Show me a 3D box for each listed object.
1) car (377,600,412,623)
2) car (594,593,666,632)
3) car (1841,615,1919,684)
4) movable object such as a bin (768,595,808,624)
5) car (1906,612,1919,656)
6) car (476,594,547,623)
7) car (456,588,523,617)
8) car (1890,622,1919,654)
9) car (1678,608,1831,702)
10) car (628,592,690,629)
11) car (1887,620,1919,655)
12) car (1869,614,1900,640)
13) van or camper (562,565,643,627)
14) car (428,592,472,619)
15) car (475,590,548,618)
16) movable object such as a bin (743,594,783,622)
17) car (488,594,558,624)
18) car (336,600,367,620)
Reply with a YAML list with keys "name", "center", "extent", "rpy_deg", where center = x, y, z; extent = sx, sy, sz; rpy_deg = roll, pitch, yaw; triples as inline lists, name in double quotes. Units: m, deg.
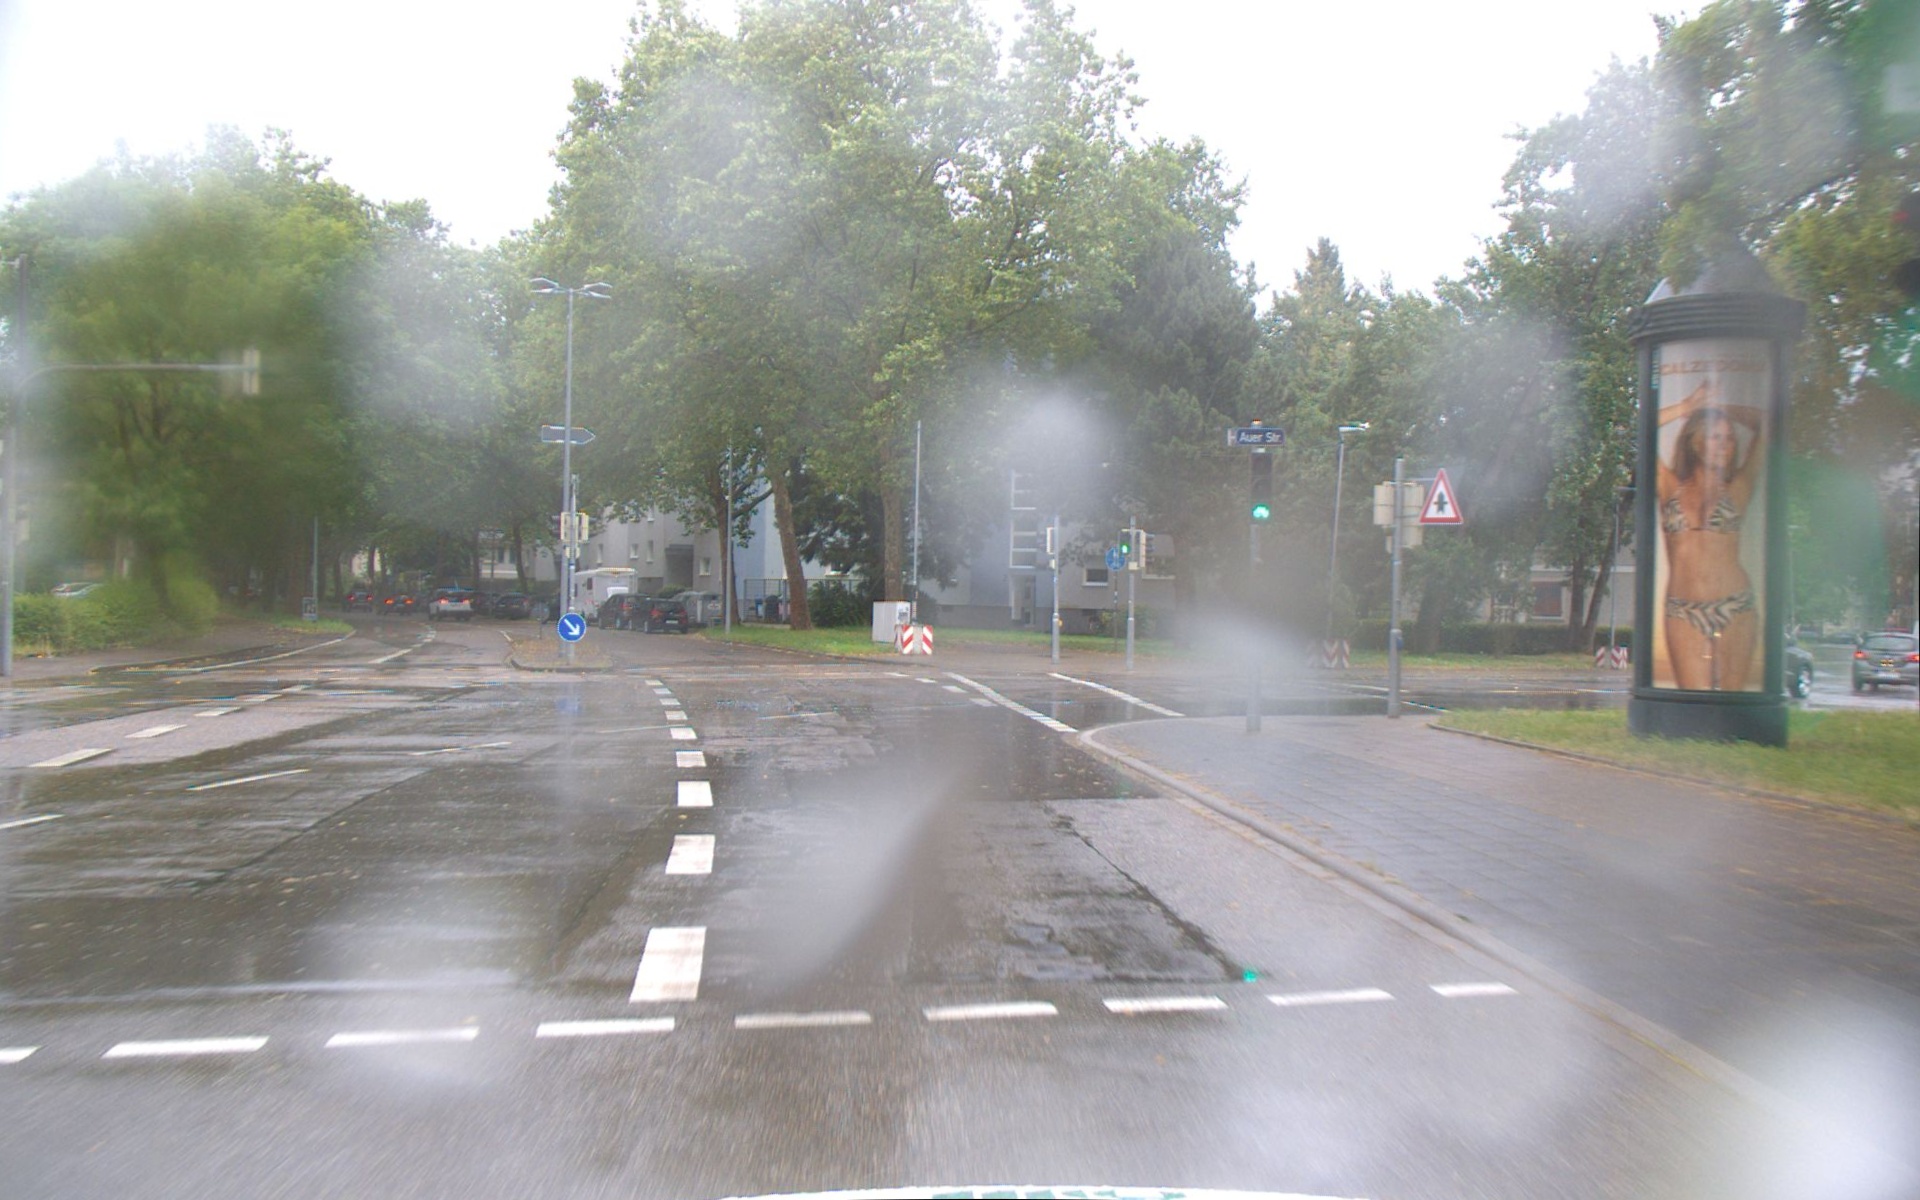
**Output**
- name: "car"
  center: [-38.109, 0.769, 111.400]
  extent: [1.687, 1.436, 3.611]
  rpy_deg: [-1, 1, -28]
- name: "car"
  center: [-14.943, 0.581, 74.785]
  extent: [1.895, 1.649, 4.410]
  rpy_deg: [2, -2, -29]
- name: "car"
  center: [23.983, 1.269, 42.639]
  extent: [1.957, 1.630, 4.078]
  rpy_deg: [2, 0, 32]
- name: "movable object such as a bin"
  center: [-9.108, 0.485, 87.550]
  extent: [1.831, 1.457, 1.208]
  rpy_deg: [1, -1, 44]
- name: "car"
  center: [51.074, 1.798, 86.695]
  extent: [2.304, 2.247, 4.606]
  rpy_deg: [2, 0, 27]
- name: "car"
  center: [-27.056, 0.530, 99.866]
  extent: [1.764, 1.629, 3.990]
  rpy_deg: [2, 0, 31]
- name: "car"
  center: [-29.859, 0.152, 105.034]
  extent: [1.799, 1.726, 3.856]
  rpy_deg: [2, 2, 34]
- name: "car"
  center: [62.746, 2.499, 109.393]
  extent: [1.955, 2.049, 3.995]
  rpy_deg: [2, 0, 26]
- name: "car"
  center: [16.629, 1.129, 34.516]
  extent: [1.962, 1.774, 4.284]
  rpy_deg: [2, -1, 39]
- name: "car"
  center: [-12.741, 0.427, 69.849]
  extent: [1.529, 1.414, 4.115]
  rpy_deg: [2, 0, -26]
- name: "car"
  center: [57.496, 2.270, 100.258]
  extent: [2.075, 2.049, 3.995]
  rpy_deg: [2, 0, 26]
- name: "car"
  center: [75.840, 2.250, 135.733]
  extent: [1.955, 2.049, 3.995]
  rpy_deg: [2, 0, 26]
- name: "van or camper"
  center: [-17.748, -0.191, 81.793]
  extent: [2.291, 2.856, 6.805]
  rpy_deg: [2, -1, -26]
- name: "car"
  center: [-28.685, 0.318, 93.027]
  extent: [1.687, 1.436, 3.611]
  rpy_deg: [-1, 1, -28]
- name: "car"
  center: [-27.849, 0.270, 102.780]
  extent: [1.994, 1.629, 3.987]
  rpy_deg: [2, 0, 34]
- name: "movable object such as a bin"
  center: [-10.593, 0.424, 88.840]
  extent: [1.831, 1.457, 1.208]
  rpy_deg: [1, -1, 44]
- name: "car"
  center: [-25.469, 0.537, 96.514]
  extent: [1.764, 1.629, 3.760]
  rpy_deg: [2, 0, 31]
- name: "car"
  center: [-46.546, 0.715, 126.466]
  extent: [1.687, 1.436, 3.611]
  rpy_deg: [-1, 1, -28]
